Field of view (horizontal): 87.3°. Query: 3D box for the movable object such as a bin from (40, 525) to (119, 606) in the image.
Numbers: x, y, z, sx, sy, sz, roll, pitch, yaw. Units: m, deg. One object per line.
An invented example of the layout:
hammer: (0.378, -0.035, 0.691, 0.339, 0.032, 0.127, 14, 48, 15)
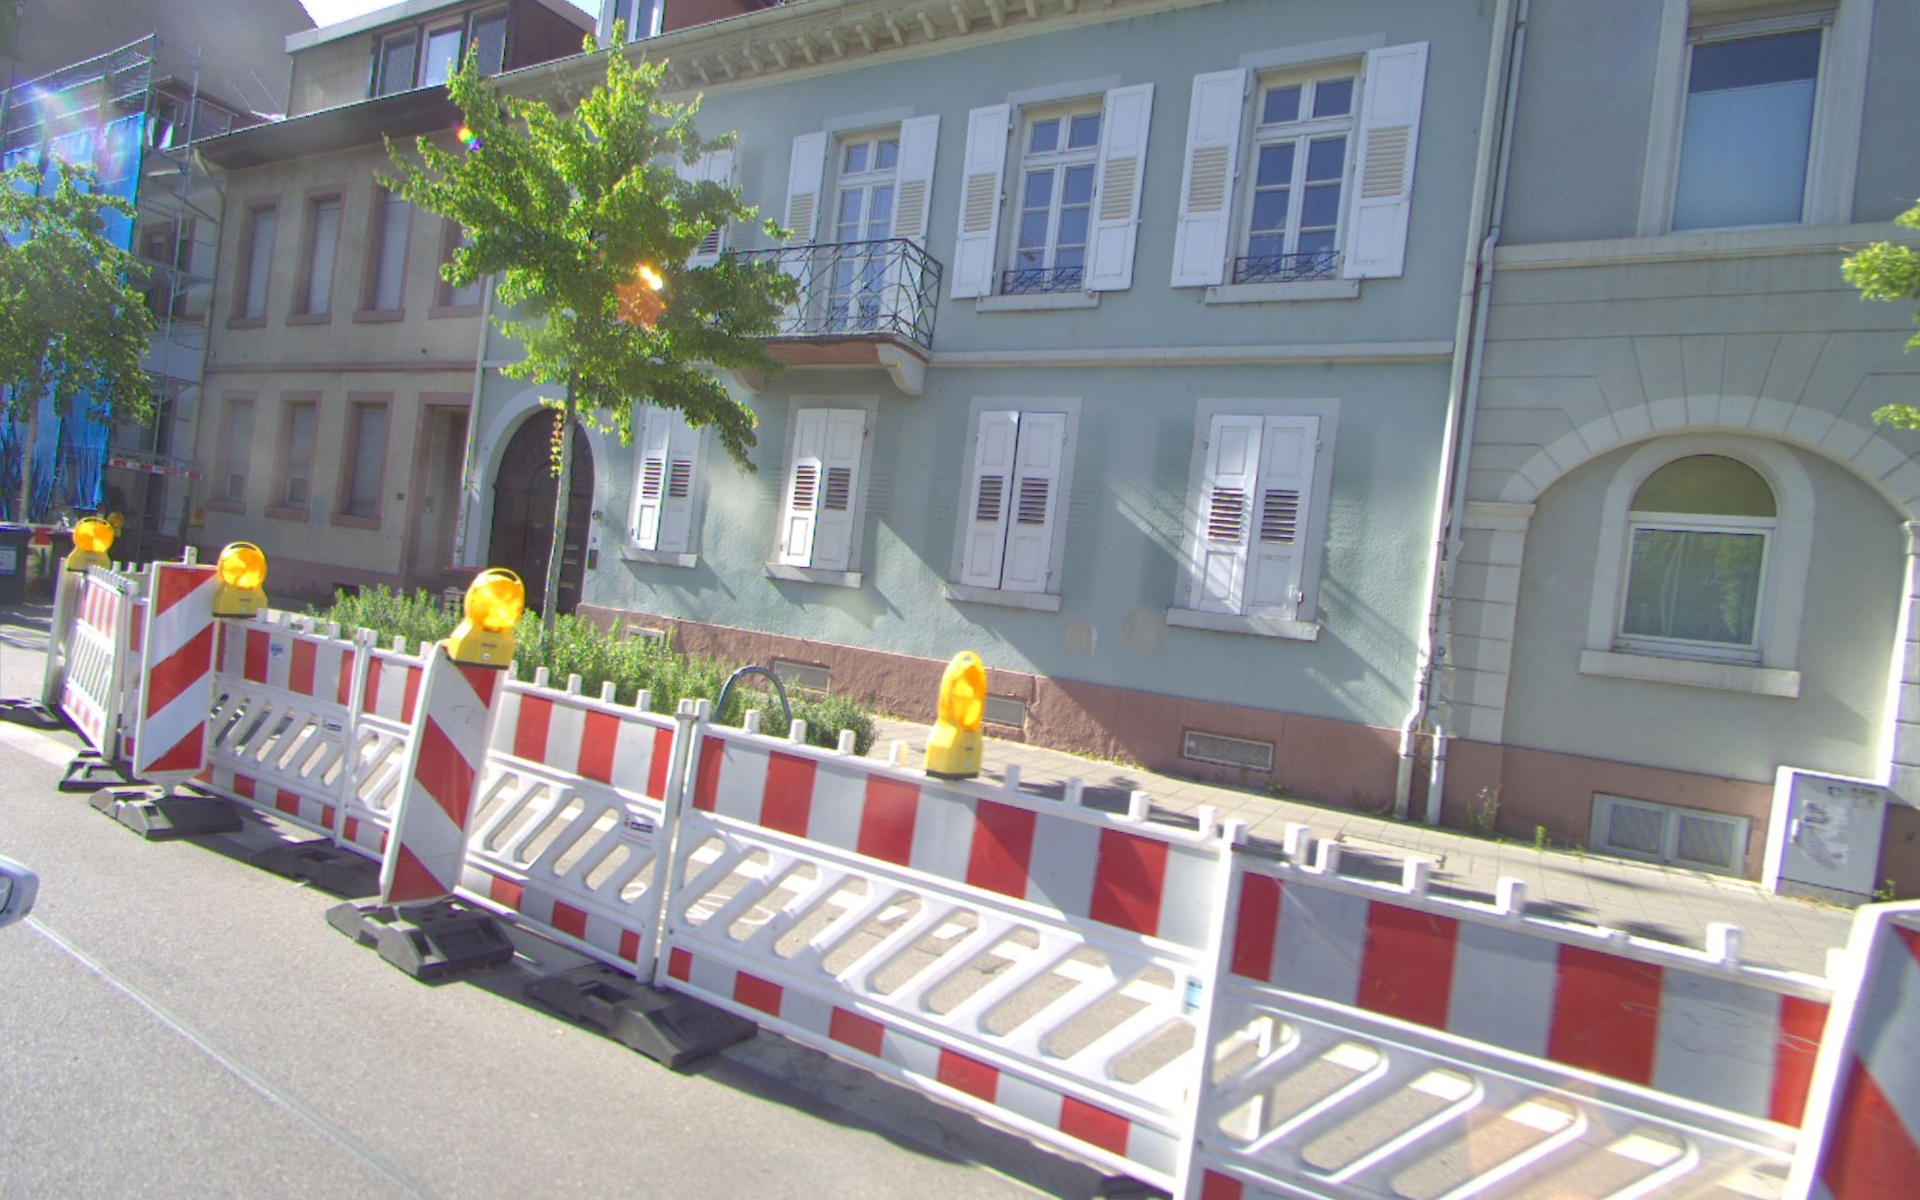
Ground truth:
movable object such as a bin: (-12.623, -0.496, 14.429, 0.769, 1.073, 0.588, 7, 5, 25)

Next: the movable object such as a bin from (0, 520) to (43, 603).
movable object such as a bin: (-13.101, -0.535, 13.773, 0.718, 1.072, 0.595, 7, 4, 30)
